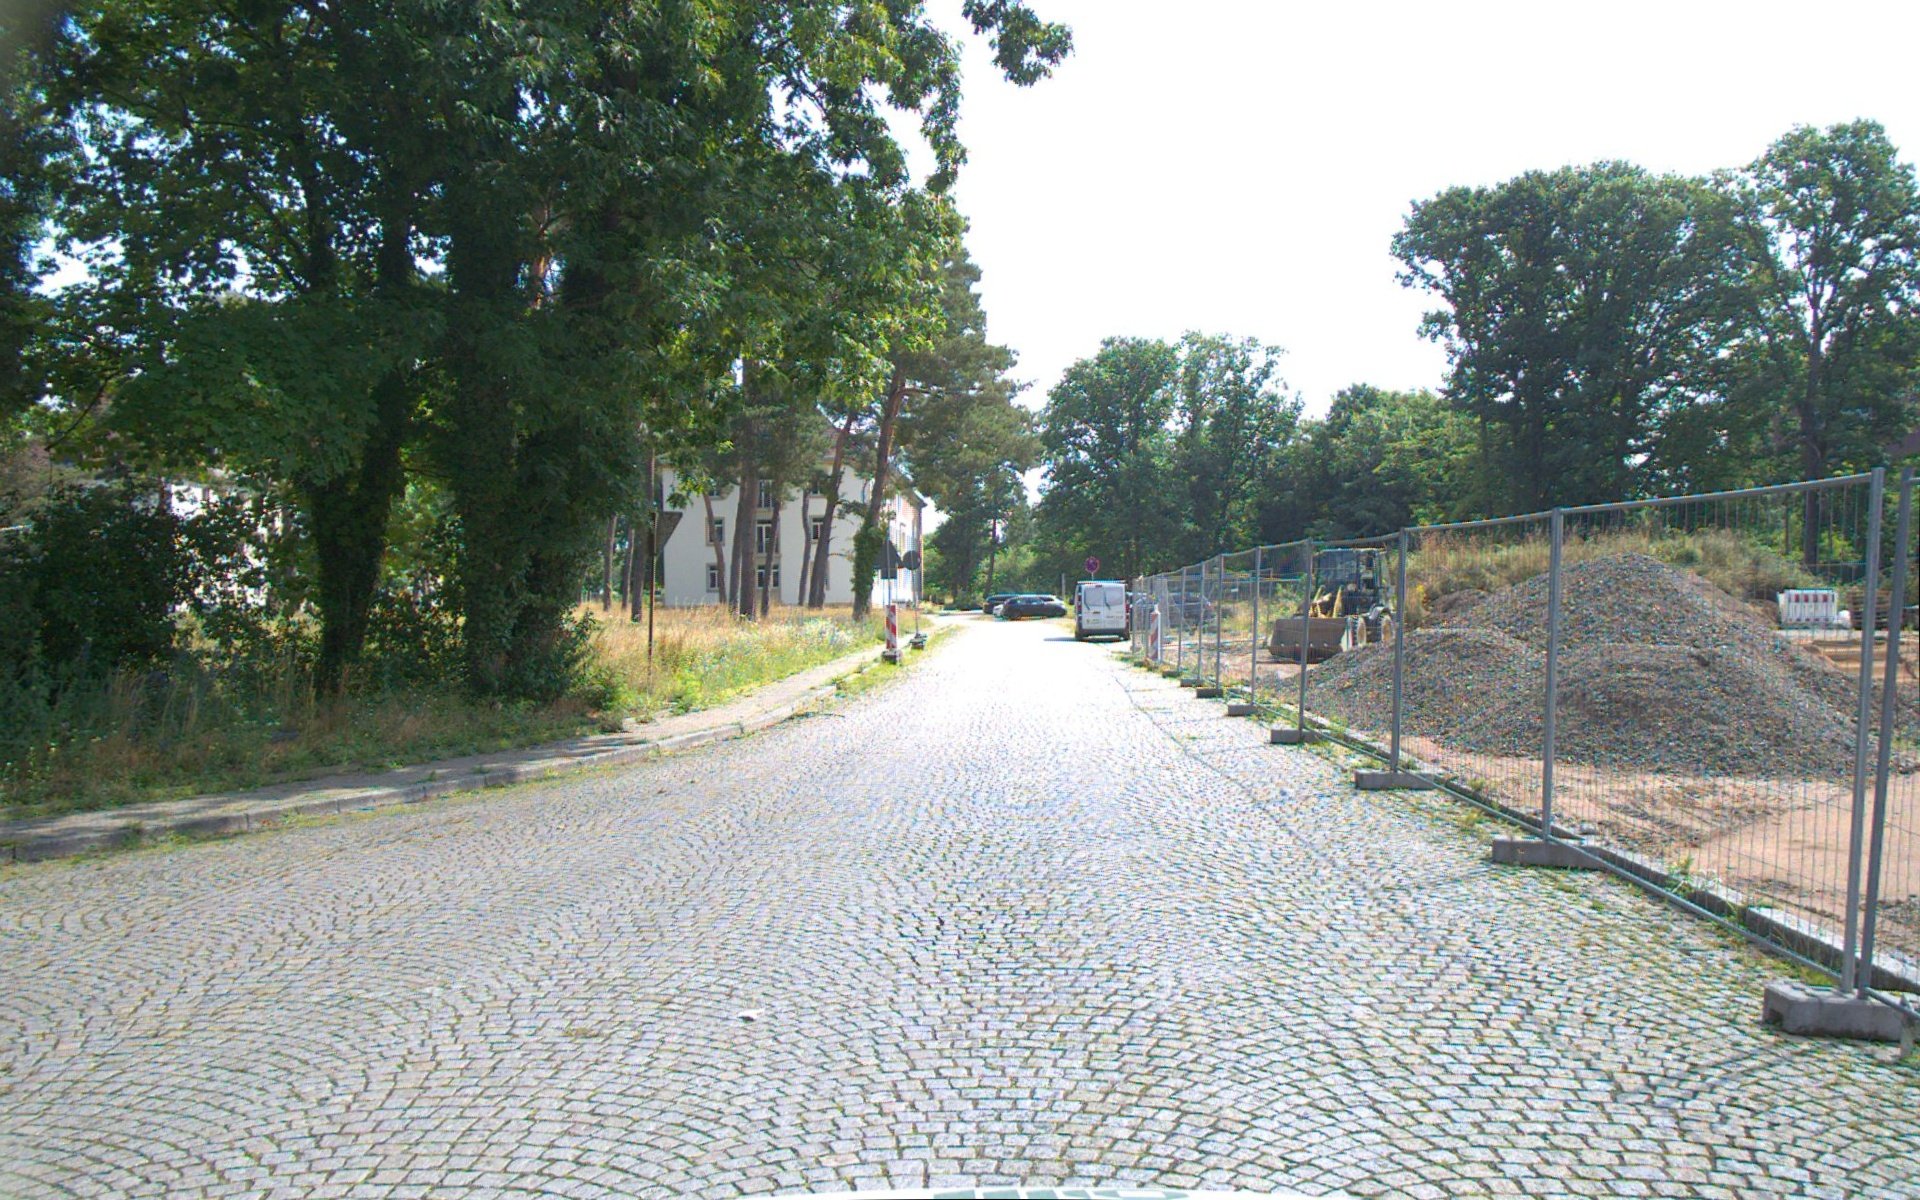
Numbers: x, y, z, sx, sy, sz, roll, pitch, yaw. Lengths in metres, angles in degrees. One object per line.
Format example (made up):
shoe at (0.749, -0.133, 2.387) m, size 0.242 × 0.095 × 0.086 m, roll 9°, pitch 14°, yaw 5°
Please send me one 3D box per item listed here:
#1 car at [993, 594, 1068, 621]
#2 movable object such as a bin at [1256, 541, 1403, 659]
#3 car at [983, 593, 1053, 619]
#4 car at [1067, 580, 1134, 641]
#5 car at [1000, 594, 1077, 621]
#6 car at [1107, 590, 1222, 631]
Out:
car at (4.552, 0.453, 107.713) m, size 4.686 × 1.669 × 1.998 m, roll -1°, pitch 0°, yaw -4°
movable object such as a bin at (8.930, -0.016, 39.666) m, size 2.089 × 2.638 × 4.782 m, roll -1°, pitch 0°, yaw 30°
car at (4.036, 0.410, 115.215) m, size 4.686 × 1.669 × 1.998 m, roll -1°, pitch 0°, yaw -4°
car at (4.884, 0.342, 57.941) m, size 1.953 × 2.049 × 4.091 m, roll -1°, pitch 0°, yaw 0°
car at (4.927, 0.469, 104.511) m, size 4.686 × 1.669 × 1.998 m, roll -1°, pitch 0°, yaw -4°
car at (7.858, 0.386, 63.504) m, size 4.308 × 1.537 × 2.002 m, roll 0°, pitch 0°, yaw 9°
